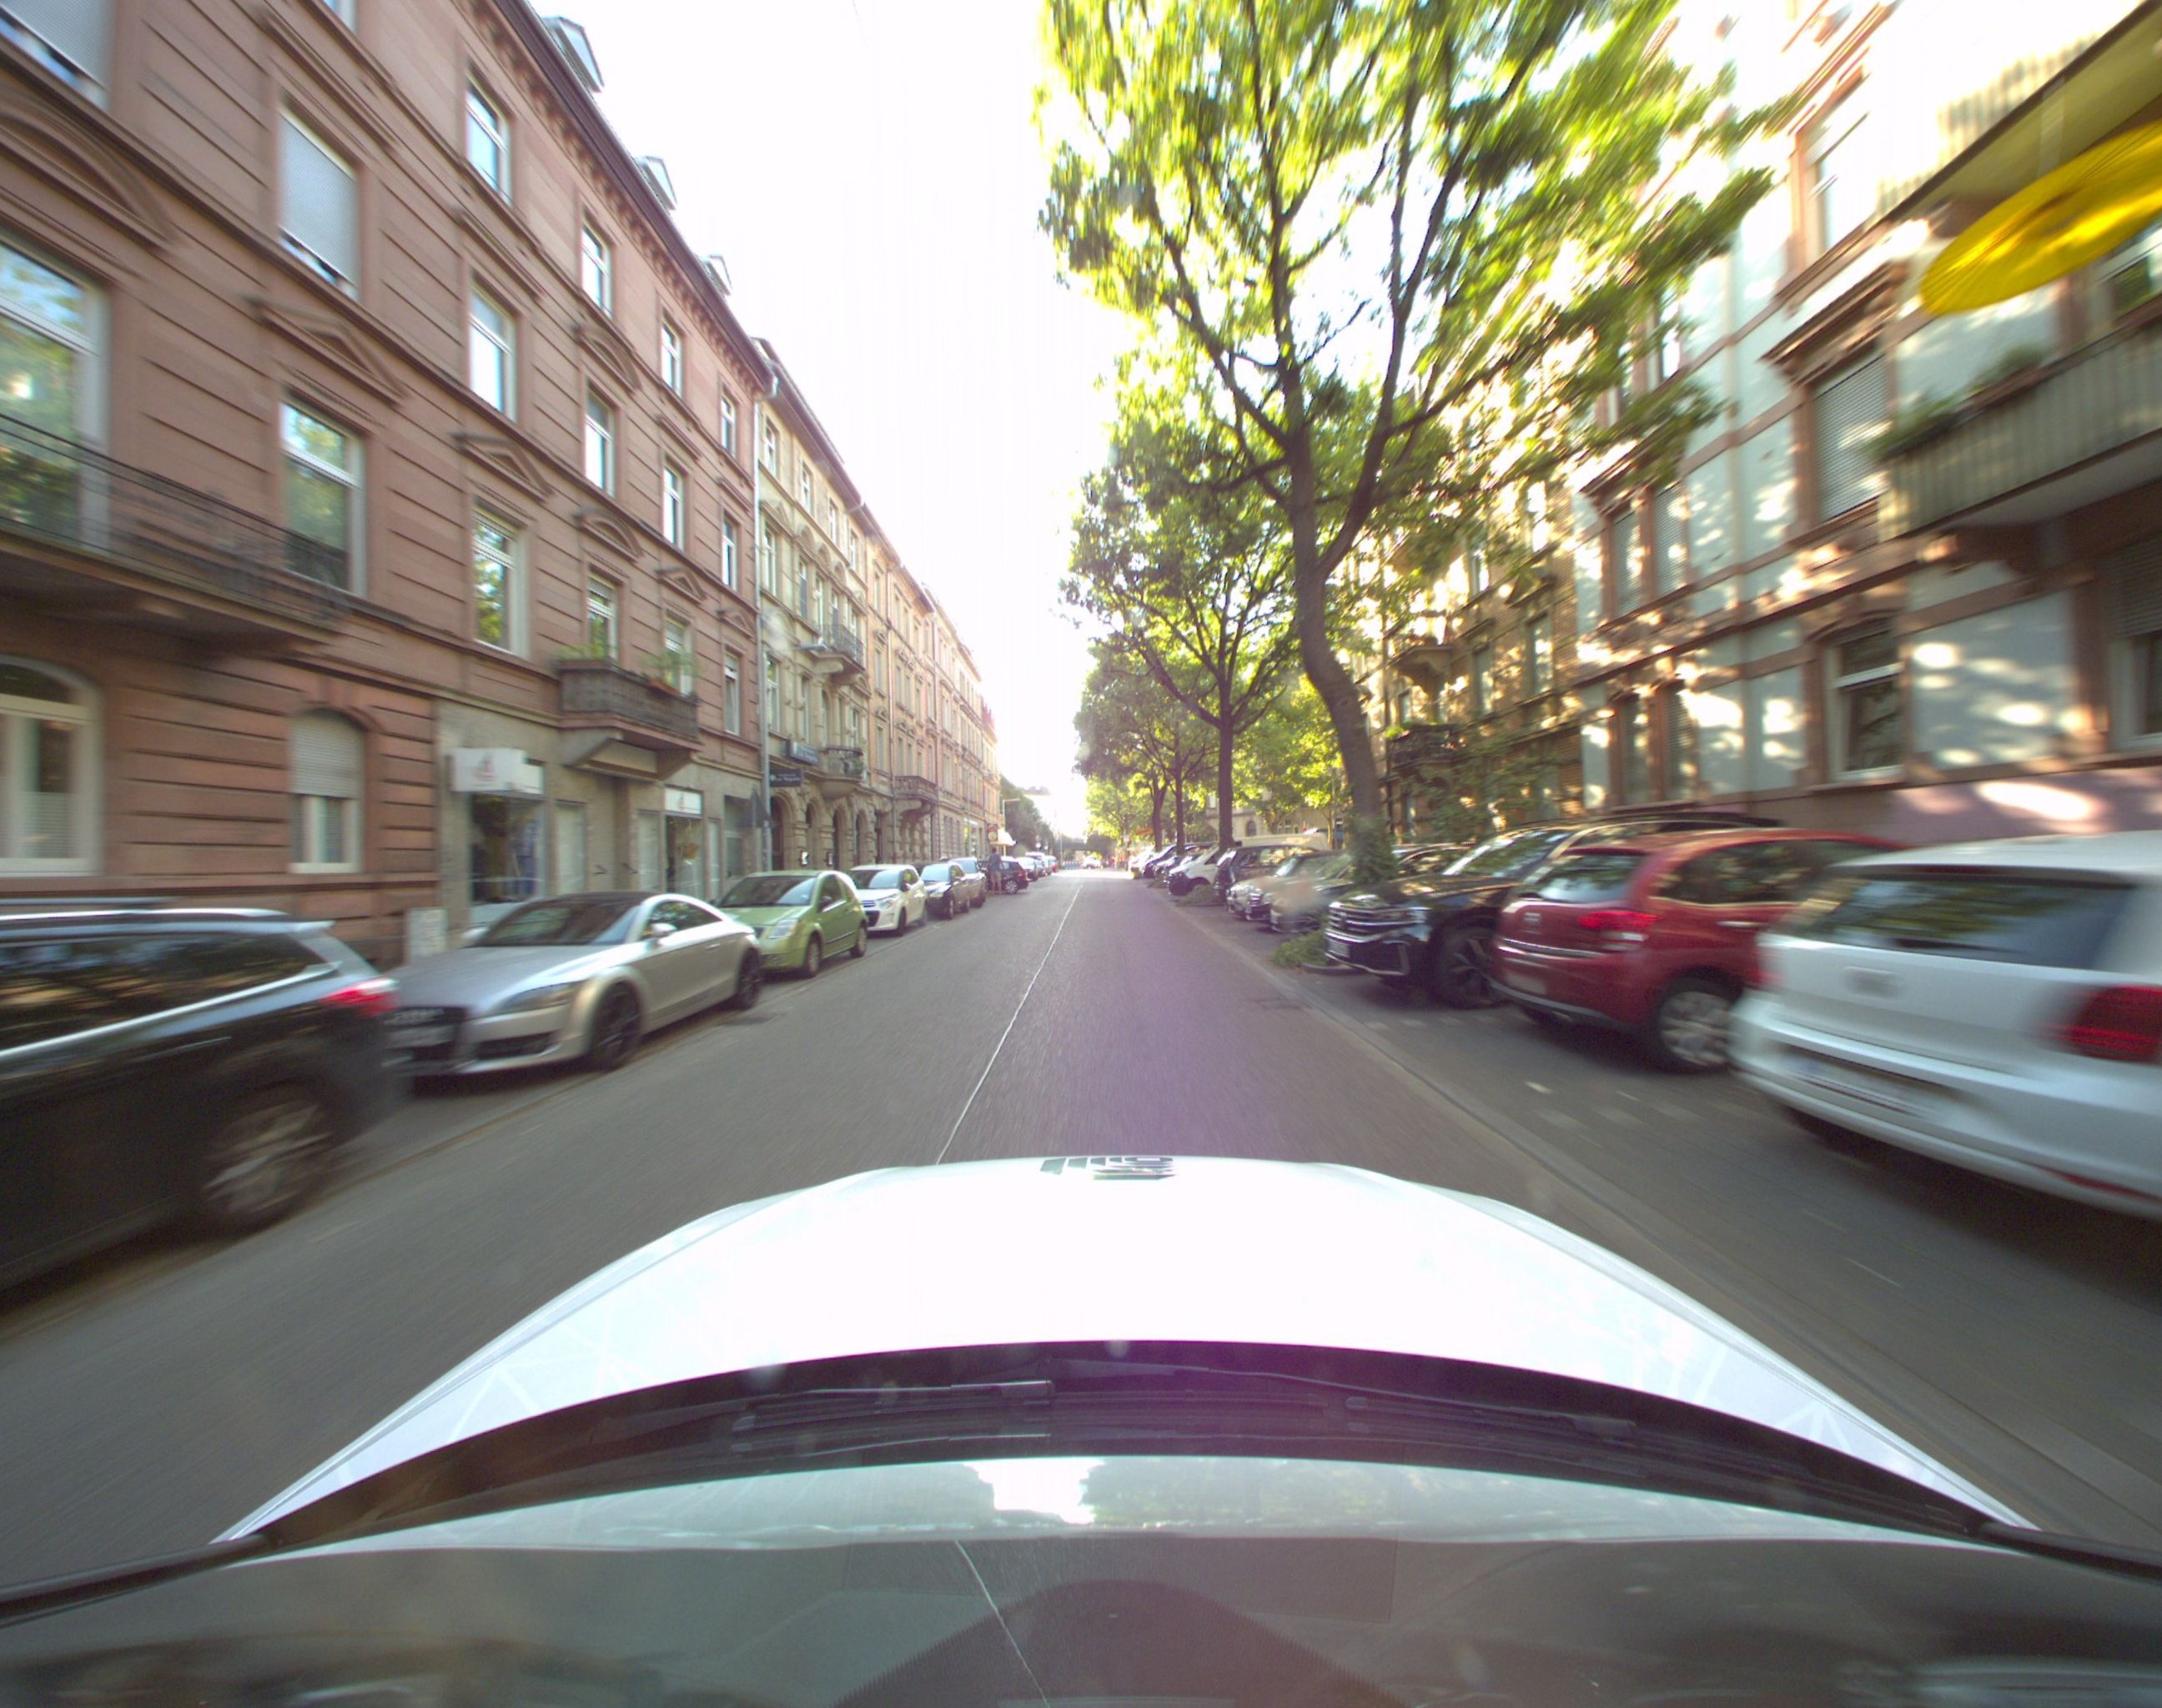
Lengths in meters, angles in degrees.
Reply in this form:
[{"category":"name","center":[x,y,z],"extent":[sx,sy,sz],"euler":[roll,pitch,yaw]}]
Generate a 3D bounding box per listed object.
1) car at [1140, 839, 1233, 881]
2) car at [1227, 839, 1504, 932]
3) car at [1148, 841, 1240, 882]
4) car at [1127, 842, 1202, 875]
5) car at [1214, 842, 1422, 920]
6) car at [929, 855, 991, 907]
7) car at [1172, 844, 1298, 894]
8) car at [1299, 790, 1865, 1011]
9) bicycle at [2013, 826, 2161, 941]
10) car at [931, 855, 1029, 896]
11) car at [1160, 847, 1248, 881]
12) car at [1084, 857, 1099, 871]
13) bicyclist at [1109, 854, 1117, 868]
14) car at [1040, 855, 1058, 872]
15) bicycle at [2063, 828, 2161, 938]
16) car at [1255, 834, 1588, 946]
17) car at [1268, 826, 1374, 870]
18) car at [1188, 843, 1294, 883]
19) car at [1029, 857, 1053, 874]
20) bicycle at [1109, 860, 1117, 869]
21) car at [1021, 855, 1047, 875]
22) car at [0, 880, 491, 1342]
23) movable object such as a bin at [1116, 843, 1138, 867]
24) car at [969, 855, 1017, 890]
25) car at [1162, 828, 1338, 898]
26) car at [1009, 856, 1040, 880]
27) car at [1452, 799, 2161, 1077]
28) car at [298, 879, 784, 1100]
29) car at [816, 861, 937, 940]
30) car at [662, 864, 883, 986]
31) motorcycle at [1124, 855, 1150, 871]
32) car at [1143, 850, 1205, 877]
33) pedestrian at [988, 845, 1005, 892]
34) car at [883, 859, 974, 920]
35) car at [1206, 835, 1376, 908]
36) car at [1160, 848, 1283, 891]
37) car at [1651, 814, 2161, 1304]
[{"category":"car","center":[5.531,0.319,43.066],"extent":[4.602,2.013,1.999],"euler":[-2,0,-2]},{"category":"car","center":[5.382,0.551,15.678],"extent":[4.657,1.503,1.927],"euler":[-2,0,-9]},{"category":"car","center":[5.634,0.378,40.804],"extent":[4.258,1.885,1.937],"euler":[-2,0,-3]},{"category":"car","center":[5.693,0.302,56.010],"extent":[4.956,2.096,2.106],"euler":[-2,0,0]},{"category":"car","center":[5.214,0.570,18.262],"extent":[4.097,1.503,1.809],"euler":[-2,0,-4]},{"category":"car","center":[-3.968,0.835,27.214],"extent":[1.644,1.574,4.044],"euler":[1,0,-3]},{"category":"car","center":[5.357,0.504,28.583],"extent":[3.983,1.474,1.778],"euler":[-3,0,-7]},{"category":"car","center":[4.842,0.410,8.340],"extent":[4.634,1.702,1.880],"euler":[-4,0,-3]},{"category":"bicycle","center":[10.110,0.263,7.857],"extent":[0.363,1.050,1.706],"euler":[-2,0,5]},{"category":"car","center":[-4.250,0.887,34.701],"extent":[3.981,1.529,1.823],"euler":[-2,0,-5]},{"category":"car","center":[5.757,0.456,38.371],"extent":[3.968,1.448,1.893],"euler":[-2,0,5]},{"category":"car","center":[1.244,1.161,94.633],"extent":[1.743,1.509,4.001],"euler":[-2,0,1]},{"category":"bicyclist","center":[3.226,0.686,81.605],"extent":[0.800,1.383,0.985],"euler":[-1,-1,0]},{"category":"car","center":[-3.071,0.923,78.639],"extent":[1.664,1.530,3.998],"euler":[-1,0,-1]},{"category":"bicycle","center":[10.497,0.271,7.750],"extent":[0.323,1.050,1.706],"euler":[-2,0,5]},{"category":"car","center":[5.272,0.542,13.137],"extent":[4.534,1.529,2.001],"euler":[-2,0,2]},{"category":"car","center":[15.007,-0.375,51.179],"extent":[5.885,2.537,2.376],"euler":[-1,0,-5]},{"category":"car","center":[6.587,0.365,33.869],"extent":[4.066,1.497,1.844],"euler":[-2,0,1]},{"category":"car","center":[-3.350,0.943,68.306],"extent":[1.719,1.437,3.997],"euler":[0,0,2]},{"category":"bicycle","center":[3.222,1.049,81.715],"extent":[0.800,0.968,2.108],"euler":[-1,0,1]},{"category":"car","center":[-3.595,0.858,63.089],"extent":[1.759,1.437,4.299],"euler":[-2,0,0]},{"category":"car","center":[-4.539,0.906,2.744],"extent":[1.814,1.477,4.424],"euler":[0,0,1]},{"category":"movable object such as a bin","center":[5.455,0.093,96.209],"extent":[1.979,2.699,3.122],"euler":[-2,-1,14]},{"category":"car","center":[-4.205,0.846,39.525],"extent":[1.735,1.567,3.896],"euler":[-2,0,2]},{"category":"car","center":[5.215,0.331,25.704],"extent":[5.074,1.940,2.158],"euler":[-2,-4,1]},{"category":"car","center":[-3.647,0.906,52.914],"extent":[1.698,1.454,4.019],"euler":[-2,0,0]},{"category":"car","center":[5.152,0.509,6.032],"extent":[3.977,1.590,1.781],"euler":[-2,0,-3]},{"category":"car","center":[-4.445,0.988,7.620],"extent":[1.699,1.323,4.102],"euler":[-2,0,1]},{"category":"car","center":[-4.405,0.936,18.143],"extent":[1.576,1.473,4.000],"euler":[-2,0,1]},{"category":"car","center":[-4.390,0.925,12.300],"extent":[1.699,1.439,3.960],"euler":[-2,0,1]},{"category":"motorcycle","center":[4.772,0.753,69.308],"extent":[2.017,1.285,0.903],"euler":[-4,0,-1]},{"category":"car","center":[6.040,0.593,53.063],"extent":[3.827,1.595,1.741],"euler":[-2,0,0]},{"category":"pedestrian","center":[-3.483,0.593,33.626],"extent":[0.589,1.887,0.639],"euler":[-2,0,-3]},{"category":"car","center":[-4.072,0.892,22.332],"extent":[1.642,1.473,4.000],"euler":[1,0,1]},{"category":"car","center":[5.338,0.430,21.011],"extent":[3.877,1.649,1.722],"euler":[-2,0,-4]},{"category":"car","center":[5.312,0.571,31.244],"extent":[4.354,1.455,1.934],"euler":[-2,0,1]},{"category":"car","center":[5.000,0.547,3.436],"extent":[3.977,1.462,1.781],"euler":[-2,0,-3]}]
